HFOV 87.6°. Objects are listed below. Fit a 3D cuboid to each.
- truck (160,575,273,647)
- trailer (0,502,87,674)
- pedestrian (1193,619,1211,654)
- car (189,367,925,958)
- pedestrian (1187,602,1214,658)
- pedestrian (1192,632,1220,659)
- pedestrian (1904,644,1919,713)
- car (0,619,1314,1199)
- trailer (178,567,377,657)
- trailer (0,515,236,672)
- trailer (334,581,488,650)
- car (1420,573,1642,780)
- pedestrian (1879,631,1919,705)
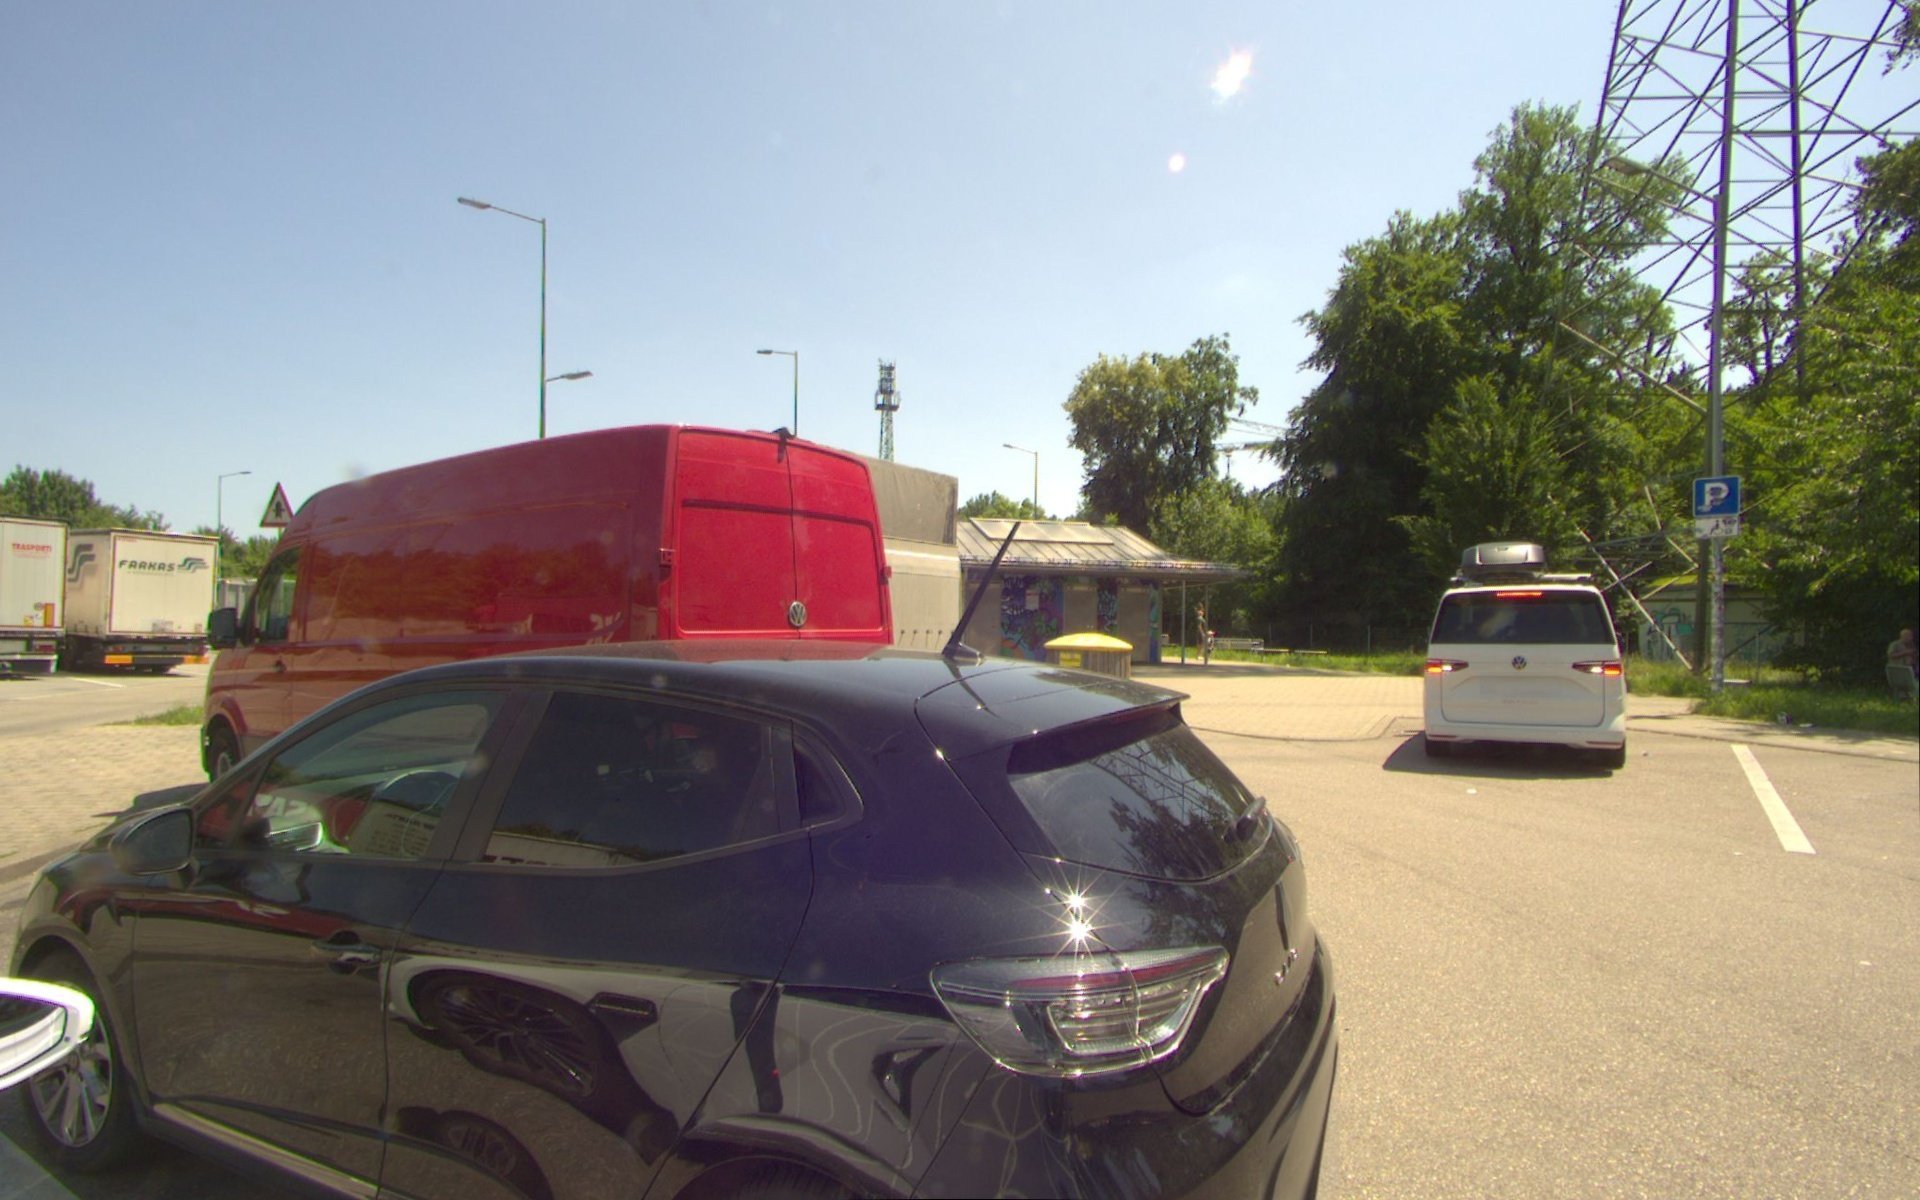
[{"bbox_3d":[-37.704,0.570,50.740,5.405,3.407,2.847,1,-2,34],"label":"truck"},{"bbox_3d":[-28.975,-0.369,28.151,13.523,4.185,2.835,1,-2,33],"label":"trailer"},{"bbox_3d":[10.974,1.663,45.473,0.633,1.547,0.565,0,-1,-6],"label":"pedestrian"},{"bbox_3d":[-3.357,0.312,7.363,6.310,2.731,2.060,0,-1,37],"label":"car"},{"bbox_3d":[8.876,1.112,36.928,0.764,2.067,0.645,0,-1,-13],"label":"pedestrian"},{"bbox_3d":[8.784,1.608,35.712,0.764,0.960,0.645,0,-1,-13],"label":"pedestrian"},{"bbox_3d":[17.185,1.363,17.485,0.876,1.192,0.666,-1,-2,32],"label":"pedestrian"},{"bbox_3d":[-1.065,0.837,2.912,3.757,1.501,1.736,0,-1,27],"label":"car"},{"bbox_3d":[-32.395,0.487,47.142,13.530,3.764,2.834,1,-2,34],"label":"trailer"},{"bbox_3d":[-27.667,-0.190,31.632,13.523,4.185,2.835,1,-2,33],"label":"trailer"},{"bbox_3d":[-36.061,0.920,65.434,13.530,4.101,2.834,1,-2,34],"label":"trailer"},{"bbox_3d":[6.518,0.774,11.849,1.881,1.937,4.549,-1,-1,26],"label":"car"},{"bbox_3d":[18.522,1.323,19.611,0.660,1.422,0.647,-1,-1,33],"label":"pedestrian"}]
